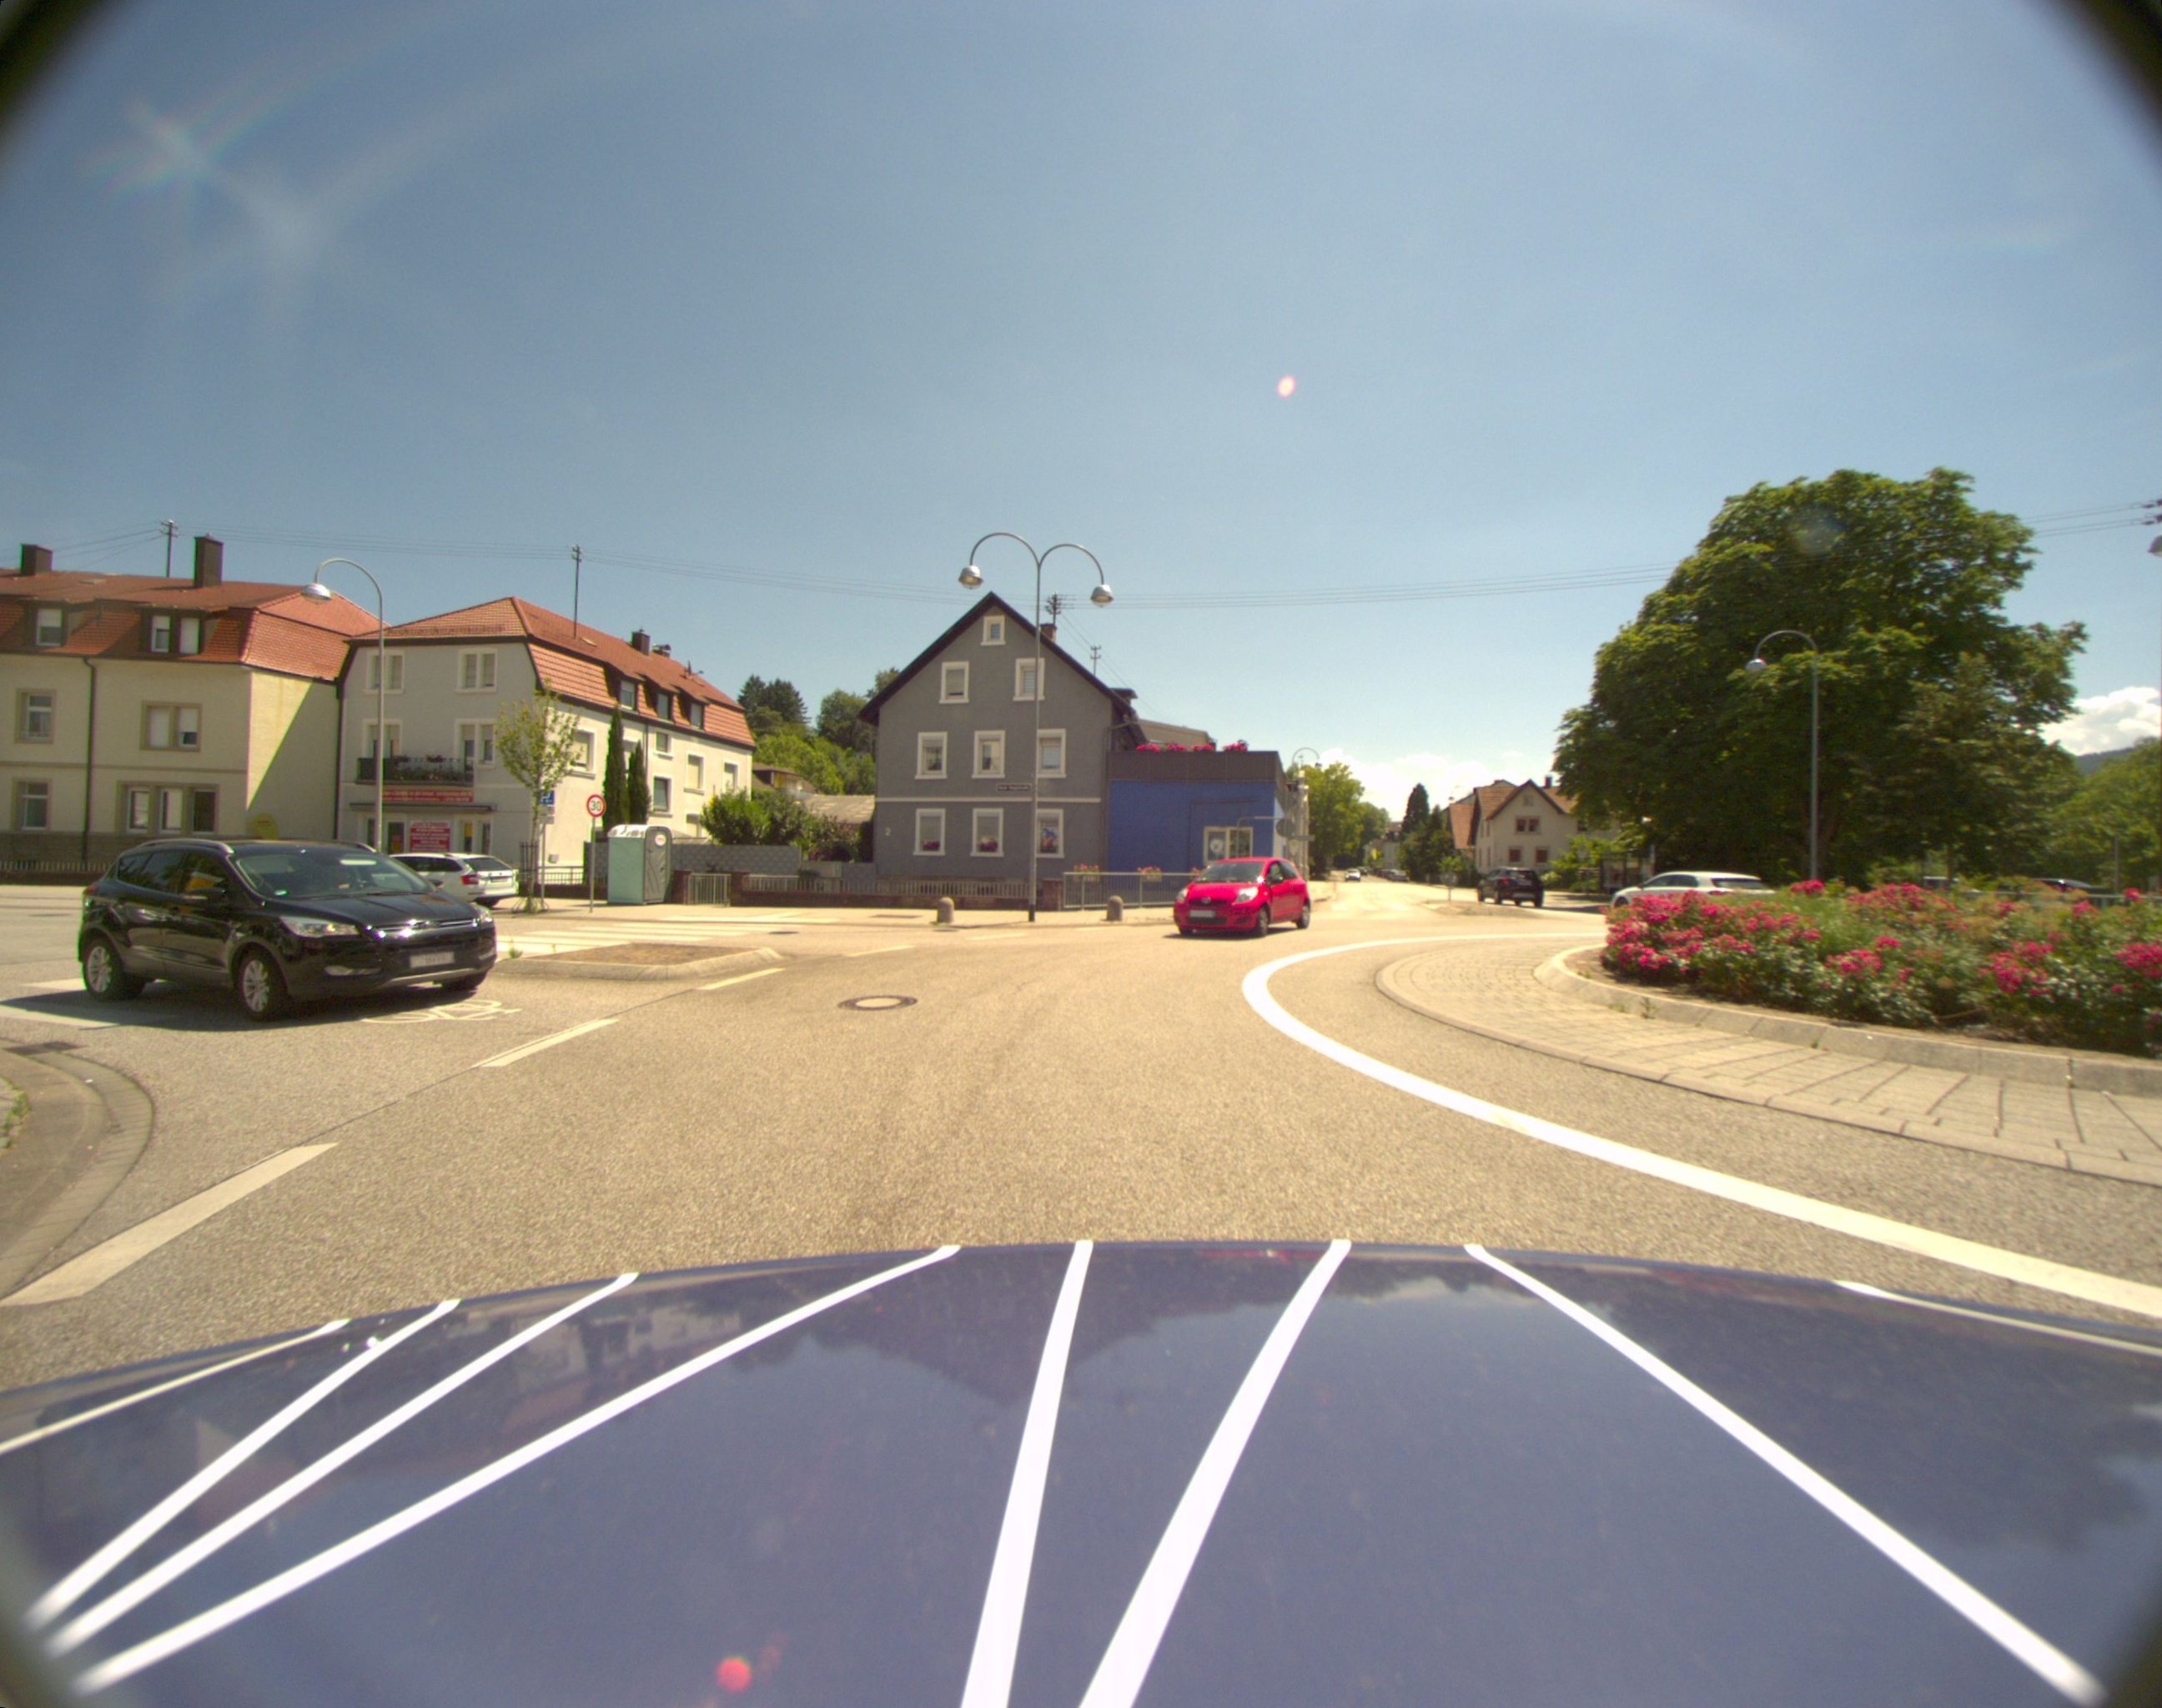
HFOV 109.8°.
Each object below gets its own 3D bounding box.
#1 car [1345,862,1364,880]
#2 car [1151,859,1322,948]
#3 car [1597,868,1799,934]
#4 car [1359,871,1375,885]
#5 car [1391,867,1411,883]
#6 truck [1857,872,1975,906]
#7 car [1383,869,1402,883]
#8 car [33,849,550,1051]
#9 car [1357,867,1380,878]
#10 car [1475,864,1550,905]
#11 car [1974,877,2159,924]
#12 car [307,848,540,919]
[{"bbox_3d":[34.689,2.198,96.338,1.995,2.001,4.008,3,-2,18],"label":"car"},{"bbox_3d":[3.230,0.873,15.166,1.829,1.524,4.009,-1,-1,36],"label":"car"},{"bbox_3d":[16.041,1.153,20.111,1.931,1.374,4.288,1,1,2],"label":"car"},{"bbox_3d":[45.174,3.835,120.075,1.996,2.001,4.007,3,-2,17],"label":"car"},{"bbox_3d":[43.831,2.917,104.096,1.995,2.001,4.008,3,-2,18],"label":"car"},{"bbox_3d":[66.778,2.750,60.882,2.270,2.428,6.200,5,-3,-40],"label":"truck"},{"bbox_3d":[46.971,3.343,114.624,1.996,2.001,4.007,3,-2,15],"label":"car"},{"bbox_3d":[-8.348,0.820,8.131,4.517,1.678,2.003,1,0,17],"label":"car"},{"bbox_3d":[57.847,3.680,153.025,3.993,2.001,2.002,3,-2,9],"label":"car"},{"bbox_3d":[18.794,1.276,33.270,1.995,1.553,4.172,2,1,18],"label":"car"},{"bbox_3d":[38.342,1.772,29.734,1.843,1.592,3.995,1,0,-12],"label":"car"},{"bbox_3d":[-16.835,0.708,19.621,4.282,1.576,1.999,1,4,3],"label":"car"}]
